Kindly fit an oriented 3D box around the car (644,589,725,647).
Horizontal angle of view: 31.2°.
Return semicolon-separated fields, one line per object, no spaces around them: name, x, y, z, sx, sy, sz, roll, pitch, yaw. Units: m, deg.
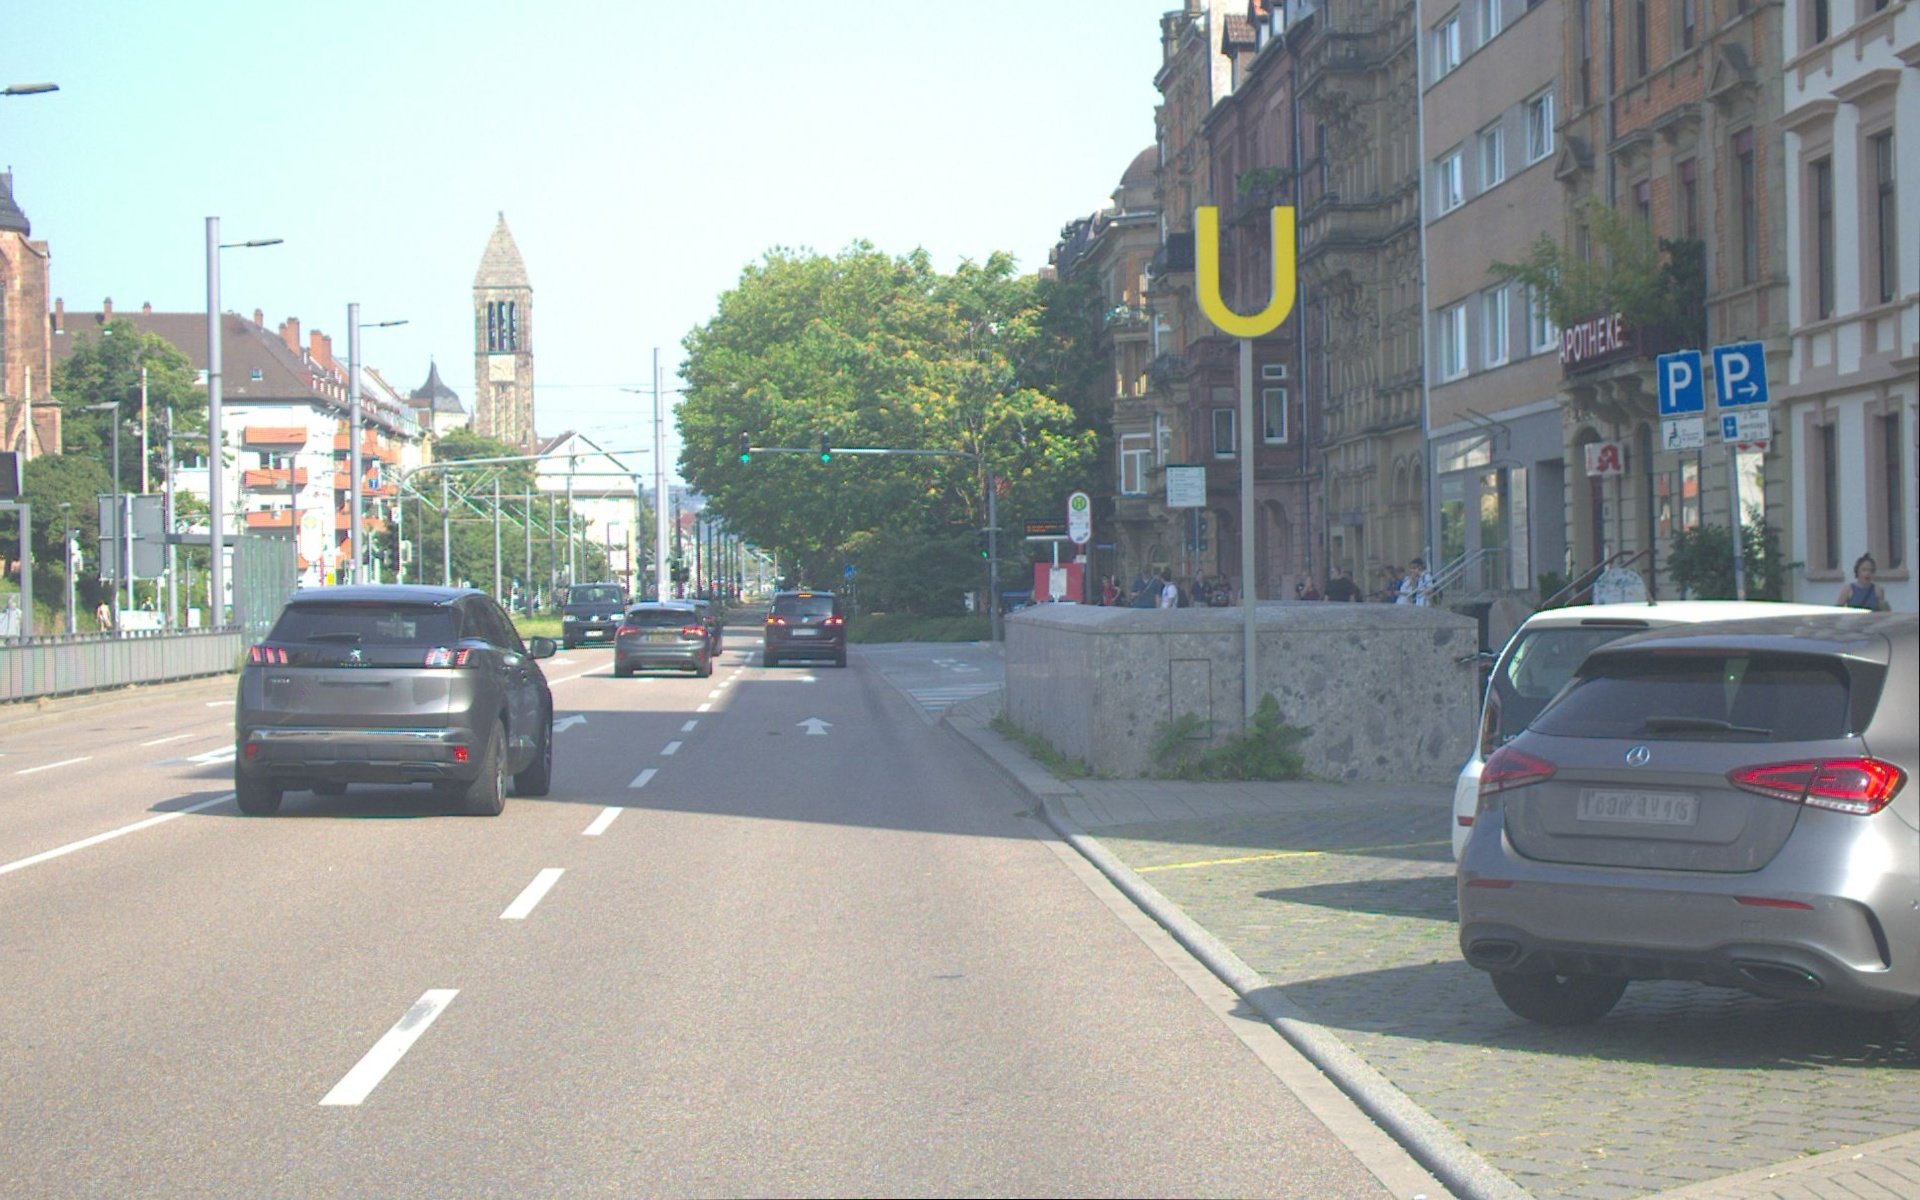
car;-7.045;0.438;88.258;1.864;1.420;4.357;1;0;-2

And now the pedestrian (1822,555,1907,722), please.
pedestrian;8.978;0.377;34.146;0.608;1.623;0.737;-1;0;-2

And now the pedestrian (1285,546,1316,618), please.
pedestrian;8.216;-0.434;82.943;0.629;1.713;0.691;-1;0;-3

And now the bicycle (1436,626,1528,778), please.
bicycle;4.130;0.789;27.285;0.383;1.130;1.790;-1;0;-2

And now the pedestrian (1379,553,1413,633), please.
pedestrian;9.460;-0.158;74.582;0.603;1.725;0.511;-1;0;-6

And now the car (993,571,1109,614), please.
car;3.483;-0.277;131.816;4.179;1.558;2.000;-1;0;-6

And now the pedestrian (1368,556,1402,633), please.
pedestrian;9.359;-0.119;75.711;0.603;1.686;0.587;-1;0;-6

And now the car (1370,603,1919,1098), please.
car;3.577;0.724;12.171;4.397;1.418;1.847;-1;0;-44

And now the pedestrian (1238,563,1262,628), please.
pedestrian;7.294;-0.113;86.418;0.486;1.605;0.813;-1;0;-1

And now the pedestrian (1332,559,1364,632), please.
pedestrian;8.861;-0.103;78.524;0.603;1.649;0.587;-1;0;-6

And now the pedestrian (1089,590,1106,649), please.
pedestrian;2.971;0.420;74.238;0.275;1.270;0.448;-1;0;-9

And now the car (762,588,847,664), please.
car;-3.479;0.562;77.267;1.831;1.615;4.357;1;0;-2

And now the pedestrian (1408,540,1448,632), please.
pedestrian;9.326;-0.282;68.520;0.603;1.825;0.742;-1;0;-6

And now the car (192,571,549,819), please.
car;-4.192;0.613;25.117;1.993;1.615;4.357;-1;1;-2

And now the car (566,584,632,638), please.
car;-10.772;0.314;102.788;1.740;1.521;3.874;-1;1;-3

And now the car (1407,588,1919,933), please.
car;3.892;0.681;16.468;3.519;1.459;1.622;-1;0;-44

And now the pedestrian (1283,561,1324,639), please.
pedestrian;7.091;-0.001;71.033;0.720;1.605;0.856;-1;0;-1

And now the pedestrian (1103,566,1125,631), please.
pedestrian;4.084;-0.040;91.220;0.481;1.696;0.703;-1;0;-6

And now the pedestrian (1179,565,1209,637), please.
pedestrian;5.871;0.026;86.345;0.617;1.798;1.071;-1;0;-1

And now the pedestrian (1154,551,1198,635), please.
pedestrian;4.468;-0.143;71.117;0.749;1.723;0.801;-1;0;-6

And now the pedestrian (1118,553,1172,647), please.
pedestrian;3.617;-0.007;67.309;0.925;1.825;0.801;-1;0;-6

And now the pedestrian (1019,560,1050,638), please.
pedestrian;1.669;-0.030;77.094;0.565;1.723;0.745;-1;0;-6

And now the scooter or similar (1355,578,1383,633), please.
scooter or similar;8.732;0.108;73.429;0.360;1.159;1.152;-1;0;-5

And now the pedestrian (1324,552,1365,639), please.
pedestrian;7.949;-0.097;71.059;0.720;1.781;0.856;-1;0;-1

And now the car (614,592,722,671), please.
car;-5.603;0.589;66.457;1.864;1.420;4.357;1;0;-2

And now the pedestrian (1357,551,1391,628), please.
pedestrian;9.197;-0.230;76.415;0.603;1.686;0.587;-1;0;-6
